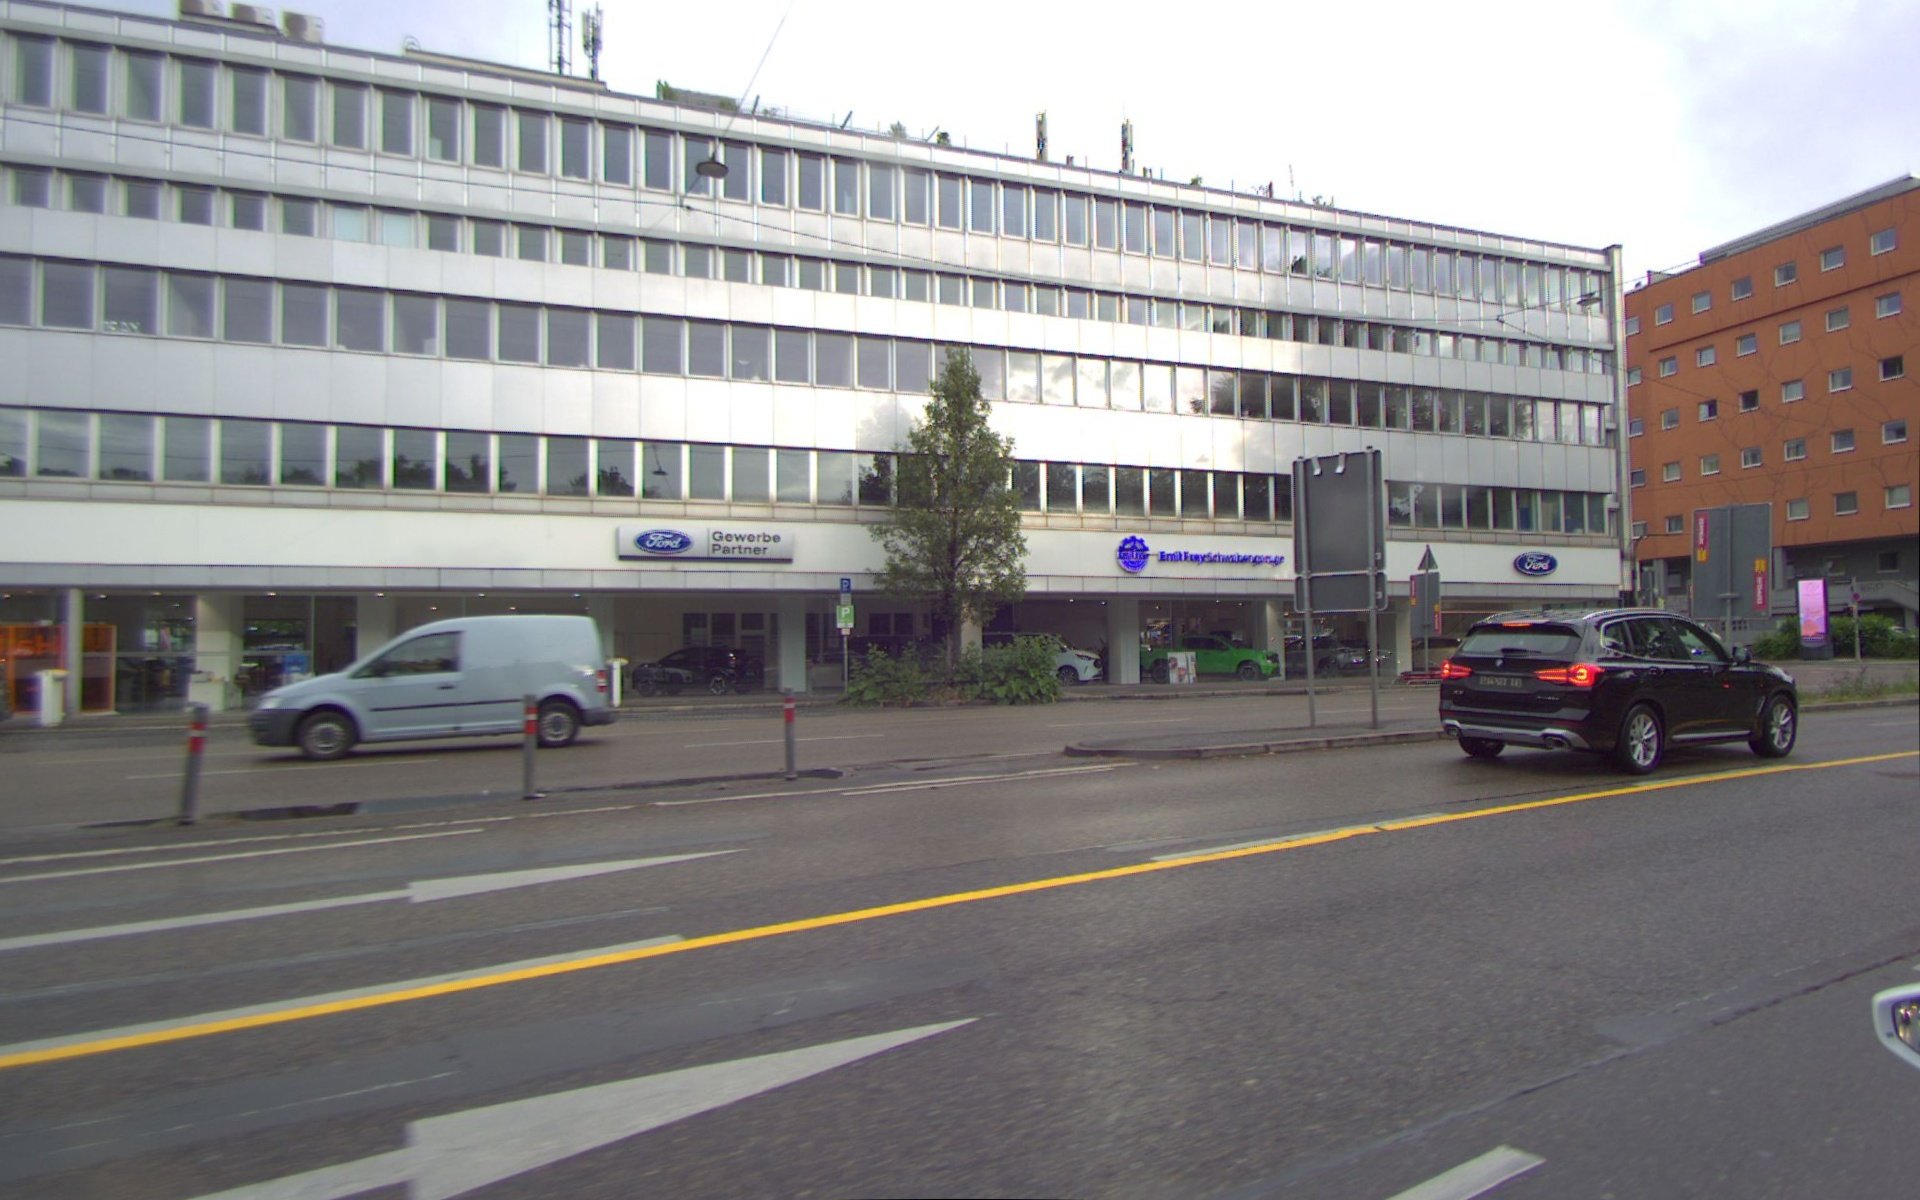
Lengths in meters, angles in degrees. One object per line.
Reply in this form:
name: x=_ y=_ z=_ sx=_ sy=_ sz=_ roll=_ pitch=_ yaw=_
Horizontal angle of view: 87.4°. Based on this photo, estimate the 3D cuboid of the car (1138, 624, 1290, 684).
car: x=9.428 y=2.062 z=37.384 sx=5.113 sy=2.037 sz=1.997 roll=-3 pitch=-4 yaw=29

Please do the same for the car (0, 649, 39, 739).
car: x=-21.803 y=1.932 z=20.015 sx=4.655 sy=1.802 sz=1.848 roll=0 pitch=-4 yaw=-19

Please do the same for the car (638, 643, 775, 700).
car: x=-7.696 y=2.159 z=30.613 sx=3.933 sy=1.594 sz=1.995 roll=0 pitch=-4 yaw=-15

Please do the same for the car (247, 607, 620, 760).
car: x=-6.994 y=1.081 z=13.718 sx=4.249 sy=1.809 sz=1.727 roll=1 pitch=-4 yaw=-29

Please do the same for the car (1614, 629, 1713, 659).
car: x=37.332 y=2.367 z=53.398 sx=1.560 sy=1.464 sz=4.133 roll=0 pitch=-4 yaw=-19

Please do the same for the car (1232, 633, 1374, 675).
car: x=13.912 y=2.224 z=40.988 sx=1.985 sy=1.540 sz=5.145 roll=2 pitch=-5 yaw=-41

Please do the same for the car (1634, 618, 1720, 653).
car: x=44.443 y=2.178 z=62.299 sx=4.779 sy=2.041 sz=1.990 roll=1 pitch=1 yaw=-21

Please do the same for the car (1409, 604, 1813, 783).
car: x=7.386 y=0.889 z=11.300 sx=4.614 sy=1.619 sz=1.938 roll=0 pitch=-1 yaw=-30

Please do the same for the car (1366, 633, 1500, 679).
car: x=19.838 y=2.390 z=42.346 sx=1.981 sy=1.761 sz=4.727 roll=2 pitch=-5 yaw=-36

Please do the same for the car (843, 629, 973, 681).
car: x=-1.748 y=1.870 z=33.551 sx=3.935 sy=1.594 sz=1.994 roll=-4 pitch=-5 yaw=35

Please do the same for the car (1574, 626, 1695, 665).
car: x=35.283 y=2.435 z=52.718 sx=1.968 sy=1.869 sz=5.076 roll=1 pitch=-5 yaw=-18

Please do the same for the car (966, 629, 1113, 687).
car: x=2.878 y=2.132 z=36.283 sx=4.891 sy=1.921 sz=2.001 roll=-3 pitch=-4 yaw=20
